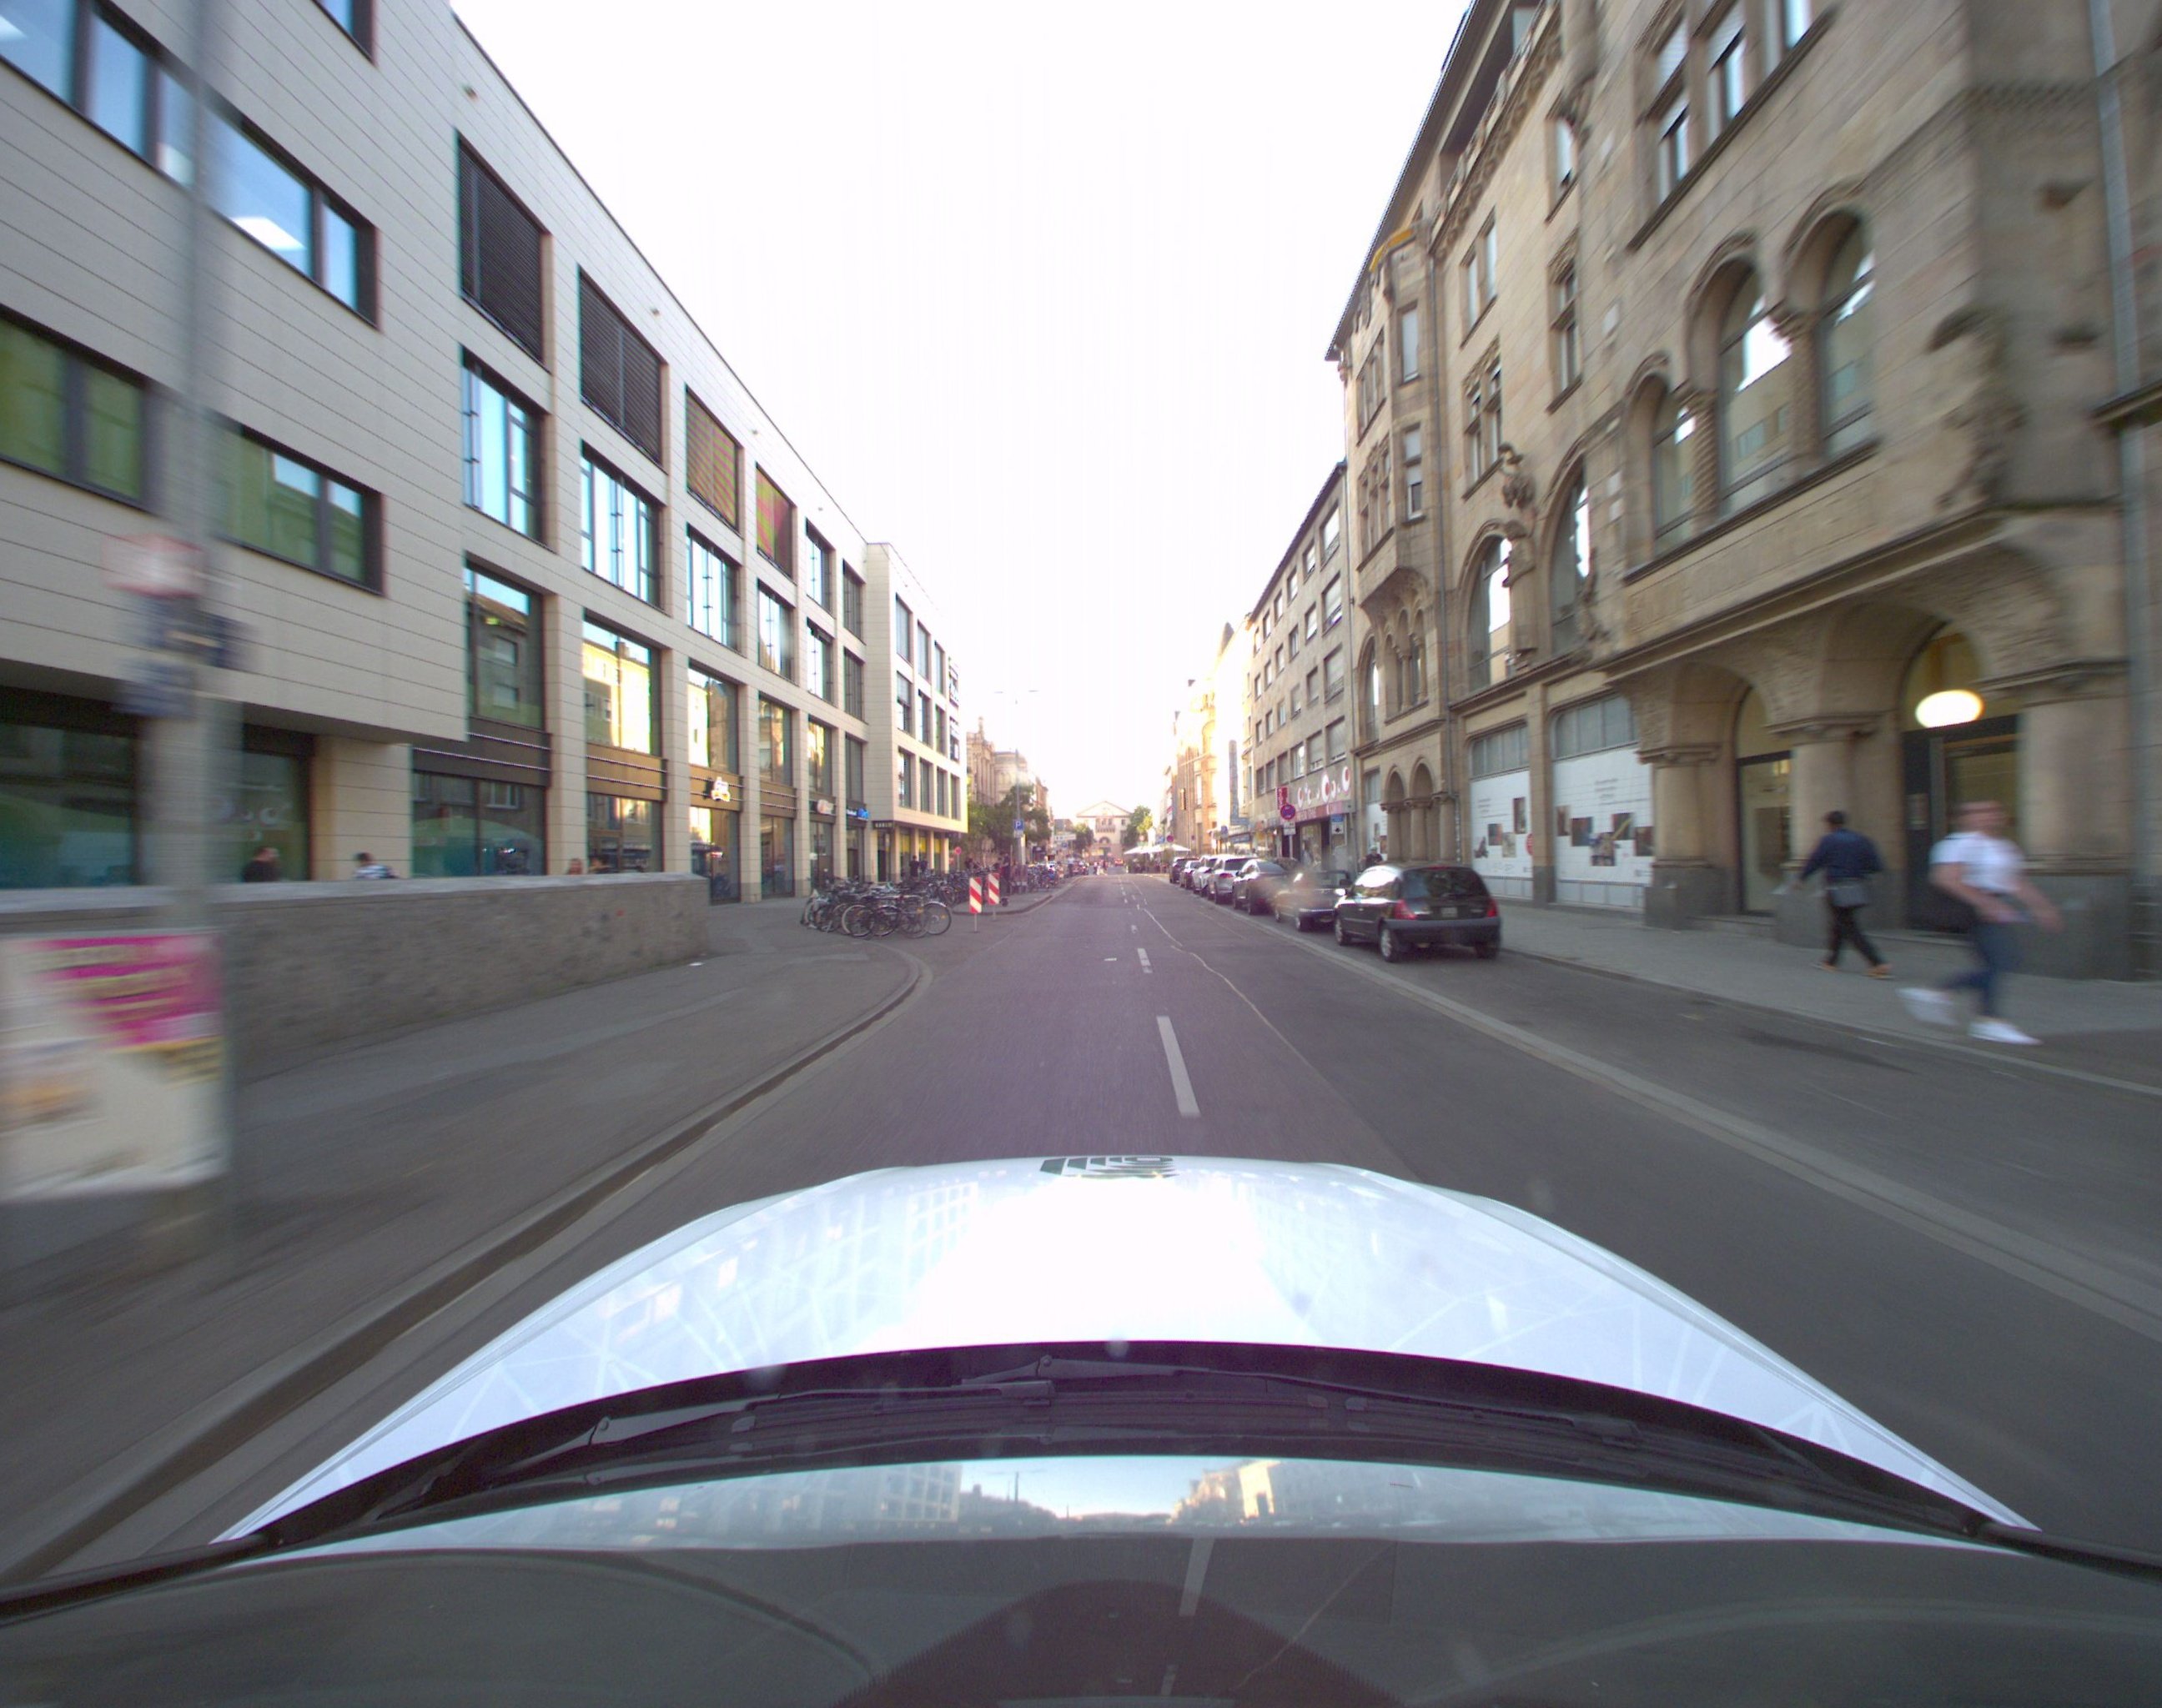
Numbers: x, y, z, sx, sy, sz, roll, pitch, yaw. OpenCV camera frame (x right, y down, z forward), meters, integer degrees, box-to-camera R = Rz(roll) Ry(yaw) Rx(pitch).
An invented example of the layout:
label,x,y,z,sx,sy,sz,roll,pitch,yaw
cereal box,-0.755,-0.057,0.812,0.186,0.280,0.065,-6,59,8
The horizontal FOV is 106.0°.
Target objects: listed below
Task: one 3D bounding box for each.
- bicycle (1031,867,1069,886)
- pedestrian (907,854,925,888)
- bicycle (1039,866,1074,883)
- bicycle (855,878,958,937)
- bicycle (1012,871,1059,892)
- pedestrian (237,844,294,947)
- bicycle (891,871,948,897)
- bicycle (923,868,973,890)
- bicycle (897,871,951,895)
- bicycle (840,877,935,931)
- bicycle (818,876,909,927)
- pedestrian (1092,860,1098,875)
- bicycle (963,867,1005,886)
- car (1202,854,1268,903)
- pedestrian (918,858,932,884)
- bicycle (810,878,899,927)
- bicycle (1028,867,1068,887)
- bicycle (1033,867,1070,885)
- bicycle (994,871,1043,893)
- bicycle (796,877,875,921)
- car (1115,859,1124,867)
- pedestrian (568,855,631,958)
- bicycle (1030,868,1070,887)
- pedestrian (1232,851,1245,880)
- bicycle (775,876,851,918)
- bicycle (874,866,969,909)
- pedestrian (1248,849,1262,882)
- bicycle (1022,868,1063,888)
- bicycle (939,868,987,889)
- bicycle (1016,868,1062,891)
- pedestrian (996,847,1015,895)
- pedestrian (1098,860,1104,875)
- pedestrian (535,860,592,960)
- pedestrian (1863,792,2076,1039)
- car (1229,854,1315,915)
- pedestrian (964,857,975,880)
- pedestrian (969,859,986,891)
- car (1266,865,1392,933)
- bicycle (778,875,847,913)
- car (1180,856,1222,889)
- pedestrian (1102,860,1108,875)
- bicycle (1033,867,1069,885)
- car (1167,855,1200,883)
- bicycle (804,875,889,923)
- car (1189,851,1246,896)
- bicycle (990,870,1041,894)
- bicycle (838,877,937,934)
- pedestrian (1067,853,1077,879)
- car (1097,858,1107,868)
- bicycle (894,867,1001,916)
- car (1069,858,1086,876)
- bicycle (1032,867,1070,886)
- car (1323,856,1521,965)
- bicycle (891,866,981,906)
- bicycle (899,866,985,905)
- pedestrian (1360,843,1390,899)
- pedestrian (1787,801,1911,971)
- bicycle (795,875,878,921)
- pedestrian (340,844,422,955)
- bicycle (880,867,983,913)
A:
label,x,y,z,sx,sy,sz,roll,pitch,yaw
bicycle,-1.790,1.306,47.231,2.139,1.029,0.641,-1,-1,3
pedestrian,-8.031,0.841,39.684,0.677,1.621,0.574,-1,-1,1
bicycle,-1.584,1.351,52.627,2.139,1.029,0.641,-1,-1,3
bicycle,-3.532,1.067,16.584,1.978,1.122,0.553,0,-1,-27
bicycle,-2.175,1.307,38.732,2.139,0.953,0.641,-1,-1,3
pedestrian,-12.376,0.620,12.366,0.390,1.515,0.503,-1,-1,-12
bicycle,-6.507,1.203,32.823,2.139,0.953,0.641,-1,-1,3
bicycle,-6.076,1.131,37.254,2.139,0.953,0.641,-1,-1,3
bicycle,-6.675,1.218,34.636,2.139,0.953,0.641,-1,-1,3
bicycle,-4.285,1.079,18.072,1.978,1.122,0.553,0,-1,-27
bicycle,-5.057,1.086,18.946,1.978,1.122,0.553,0,-1,-27
pedestrian,1.435,1.325,81.324,0.547,1.486,0.565,-1,-1,0
bicycle,-5.232,1.219,43.851,2.139,0.953,0.641,-1,-1,3
car,5.500,0.843,29.536,1.672,1.613,4.030,-3,-1,2
pedestrian,-9.856,1.061,51.377,0.728,1.621,0.661,-1,-1,1
bicycle,-5.437,1.149,19.597,1.978,1.122,0.553,0,-1,-27
bicycle,-1.836,1.291,45.392,2.139,1.029,0.641,-1,-1,3
bicycle,-1.791,1.321,49.038,2.139,1.029,0.641,-1,-1,3
bicycle,-2.867,1.295,37.325,2.139,0.953,0.641,-1,-1,3
bicycle,-6.562,1.181,21.806,1.978,1.122,0.553,0,-1,-27
car,8.686,1.997,184.374,1.986,1.904,4.001,0,-1,2
pedestrian,-8.030,0.866,13.603,0.679,1.681,0.600,0,-1,-1
bicycle,-1.697,1.285,44.658,2.139,1.029,0.641,-1,-1,3
pedestrian,9.775,0.697,50.571,0.641,1.746,0.671,-2,-1,0
bicycle,-7.524,1.190,22.879,1.978,1.122,0.553,0,-1,-27
bicycle,-5.183,1.070,26.543,2.900,1.255,0.797,-1,-1,-24
pedestrian,9.683,0.624,45.325,0.641,1.800,0.671,-2,-1,0
bicycle,-2.071,1.279,43.876,2.139,1.029,0.641,-1,-1,3
bicycle,-5.661,1.180,39.033,2.139,0.953,0.641,-1,-1,3
bicycle,-2.039,1.244,39.663,2.139,1.029,0.641,-1,-1,3
pedestrian,-2.970,0.664,32.014,0.656,1.823,0.526,-1,-1,-9
pedestrian,1.993,1.330,81.978,0.547,1.486,0.565,-1,-1,0
pedestrian,-8.741,0.931,13.783,0.598,1.646,0.546,0,-1,-1
pedestrian,6.599,0.429,6.087,0.833,1.721,0.680,-1,-1,-6
car,5.407,0.829,23.519,1.672,1.547,3.674,-3,-1,2
pedestrian,-7.949,1.058,58.089,0.677,1.621,0.574,-1,-1,1
pedestrian,-5.056,1.024,39.834,0.748,1.529,0.485,-1,-1,1
car,5.445,0.932,18.395,1.672,1.291,4.048,-3,-1,2
bicycle,-8.255,1.208,25.070,1.978,1.122,0.553,0,-1,-27
car,6.189,0.929,42.227,1.672,1.547,3.674,-3,-1,2
pedestrian,2.390,1.318,80.445,0.547,1.486,0.565,-1,-1,0
bicycle,-1.820,1.327,49.765,2.139,1.029,0.641,-1,-1,3
car,6.481,0.943,51.812,1.672,1.666,3.674,-3,-1,2
bicycle,-5.812,1.097,20.235,1.978,1.122,0.553,0,-1,-27
car,5.865,0.818,35.492,1.792,1.768,4.399,-3,-1,2
bicycle,-2.876,1.227,35.713,2.139,0.953,0.641,-1,-1,3
bicycle,-4.116,1.073,17.349,1.978,1.122,0.553,0,-1,-27
pedestrian,-0.661,0.882,58.084,0.600,1.823,0.449,-1,-1,-18
car,4.262,1.844,165.842,1.986,1.904,4.001,0,-1,2
bicycle,-3.798,1.043,23.234,2.900,1.255,0.797,-1,-1,-24
car,-0.408,1.472,93.882,1.704,2.014,4.001,-1,0,2
bicycle,-1.772,1.313,48.001,2.139,1.029,0.641,-1,-1,3
car,5.223,0.789,13.015,1.672,1.424,3.674,-3,-1,2
bicycle,-4.973,1.082,28.013,2.900,1.255,0.797,-1,-1,-24
bicycle,-4.949,1.090,28.987,2.900,1.255,0.797,-1,-1,-24
pedestrian,9.014,0.513,24.961,0.641,1.690,0.671,-2,-1,0
pedestrian,8.034,0.322,8.546,0.623,1.690,0.671,-2,-1,0
bicycle,-6.244,1.102,20.851,1.978,1.122,0.553,0,-1,-27
pedestrian,-11.300,0.728,13.173,0.779,1.751,0.600,0,-1,-1
bicycle,-4.449,1.052,24.336,2.900,1.255,0.797,-1,-1,-24
